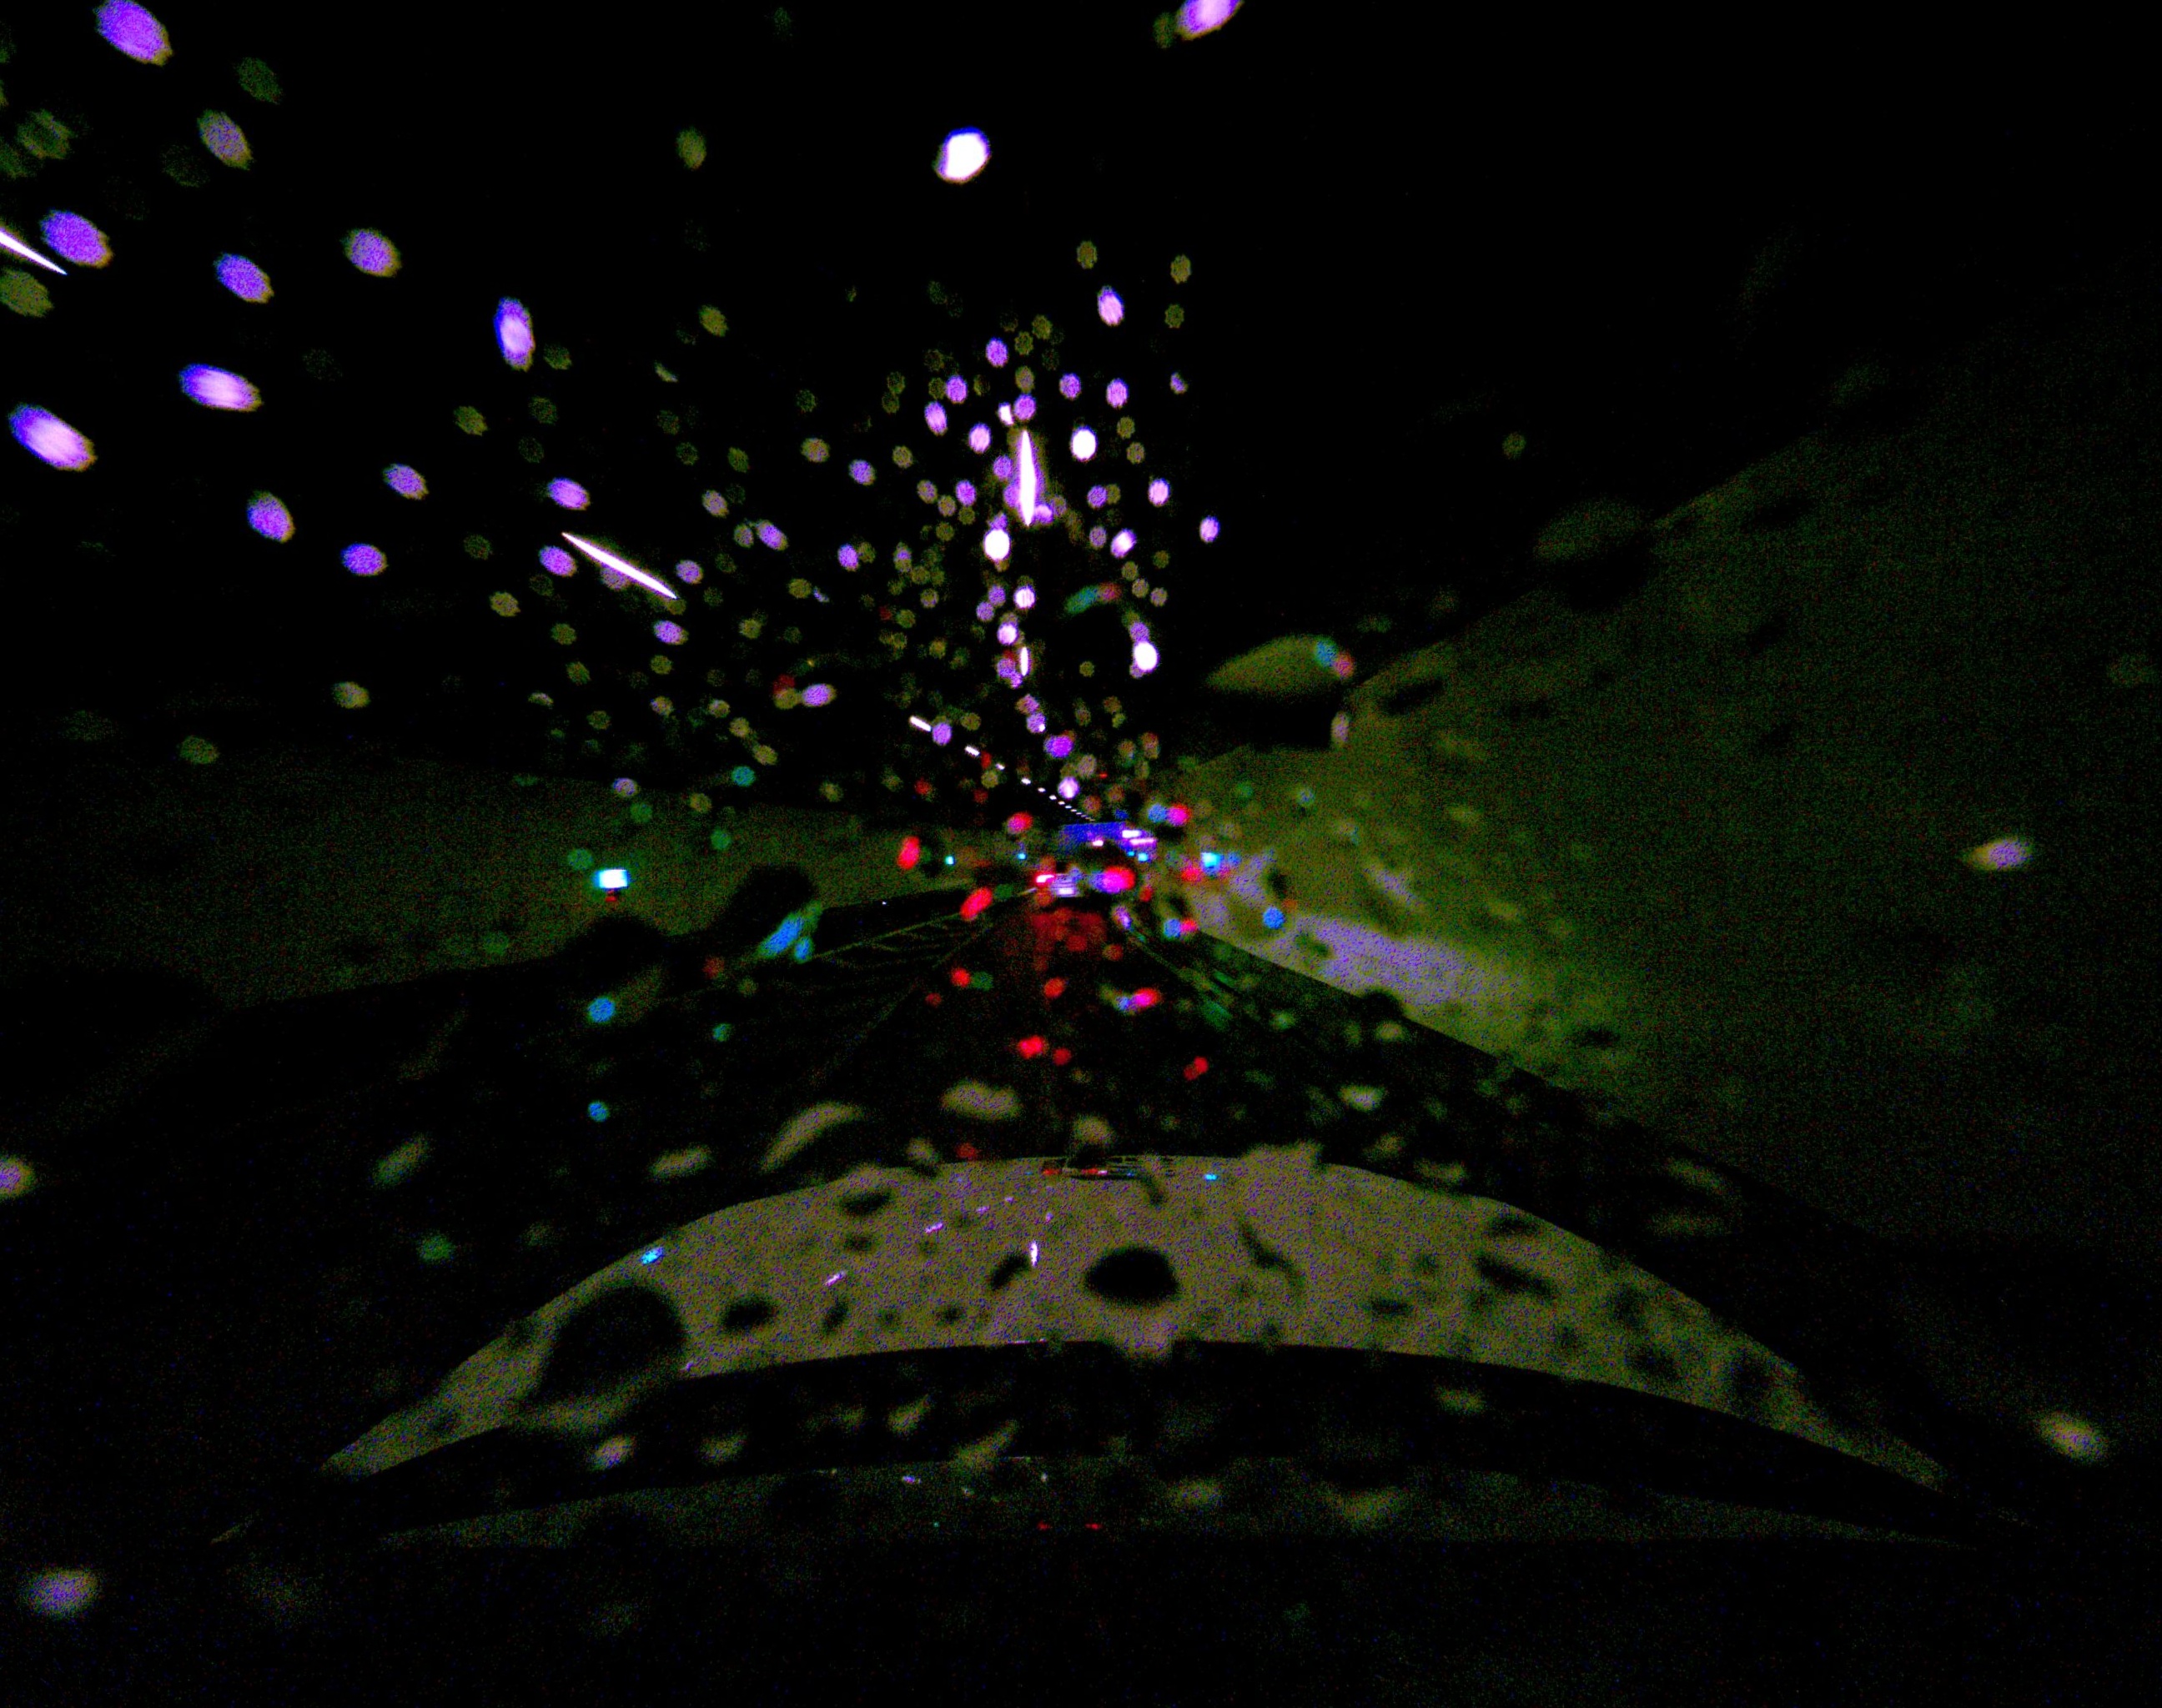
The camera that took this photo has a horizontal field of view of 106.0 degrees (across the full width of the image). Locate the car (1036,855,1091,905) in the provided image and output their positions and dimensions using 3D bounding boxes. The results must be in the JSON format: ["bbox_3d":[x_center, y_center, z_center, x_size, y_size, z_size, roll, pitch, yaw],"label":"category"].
[{"bbox_3d":[-0.485,0.750,24.976,1.526,1.397,3.434,-1,0,1],"label":"car"}]

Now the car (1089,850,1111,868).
[{"bbox_3d":[1.849,0.453,76.825,1.872,1.621,4.003,-1,-1,3],"label":"car"}]
